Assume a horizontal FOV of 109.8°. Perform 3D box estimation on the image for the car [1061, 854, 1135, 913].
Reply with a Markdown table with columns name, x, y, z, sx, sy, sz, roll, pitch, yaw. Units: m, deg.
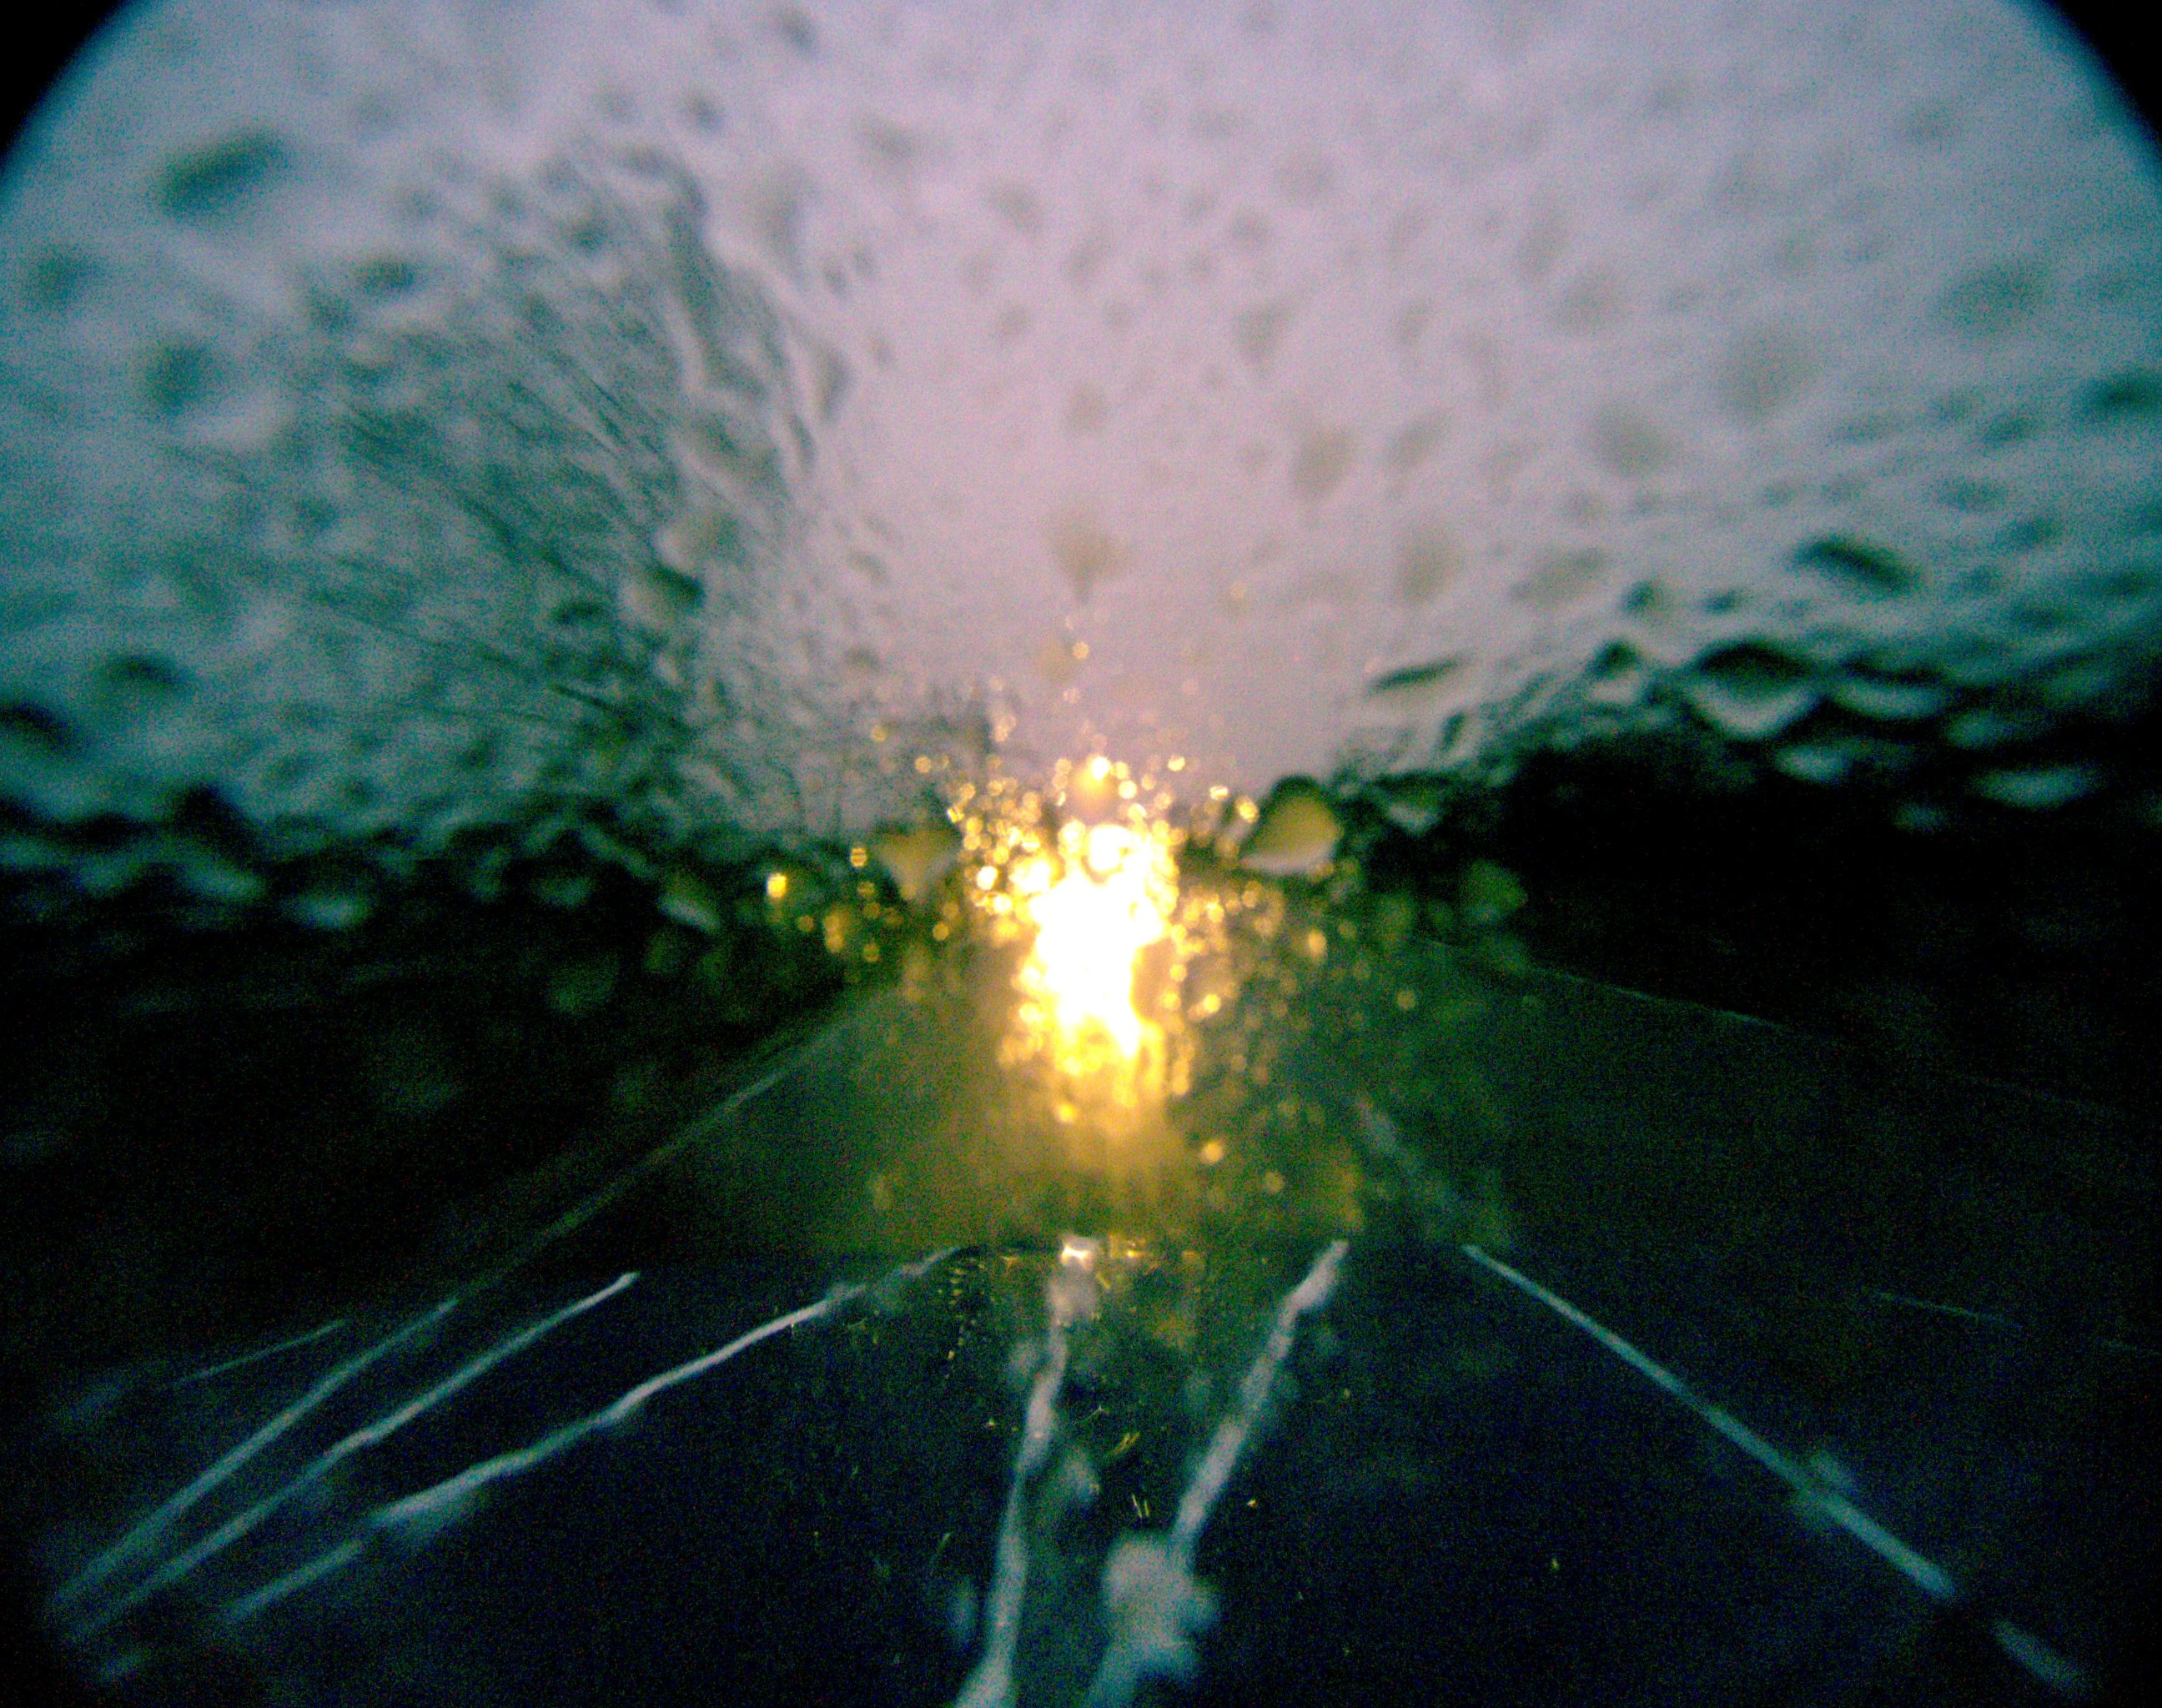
| name | x | y | z | sx | sy | sz | roll | pitch | yaw |
| --- | --- | --- | --- | --- | --- | --- | --- | --- | --- |
| car | 0.626 | 0.837 | 23.597 | 1.998 | 1.601 | 4.001 | -2 | 0 | 5 |

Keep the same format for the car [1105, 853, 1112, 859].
| name | x | y | z | sx | sy | sz | roll | pitch | yaw |
| --- | --- | --- | --- | --- | --- | --- | --- | --- | --- |
| car | 7.040 | 0.499 | 194.532 | 1.755 | 1.465 | 3.891 | -2 | 0 | 1 |

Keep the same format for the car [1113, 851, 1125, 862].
| name | x | y | z | sx | sy | sz | roll | pitch | yaw |
| --- | --- | --- | --- | --- | --- | --- | --- | --- | --- |
| car | 6.168 | 0.420 | 124.854 | 1.763 | 1.631 | 4.686 | -3 | 0 | 2 |

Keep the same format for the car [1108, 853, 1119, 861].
| name | x | y | z | sx | sy | sz | roll | pitch | yaw |
| --- | --- | --- | --- | --- | --- | --- | --- | --- | --- |
| car | 6.356 | 0.543 | 148.462 | 1.830 | 1.490 | 4.095 | -2 | 0 | 0 |
